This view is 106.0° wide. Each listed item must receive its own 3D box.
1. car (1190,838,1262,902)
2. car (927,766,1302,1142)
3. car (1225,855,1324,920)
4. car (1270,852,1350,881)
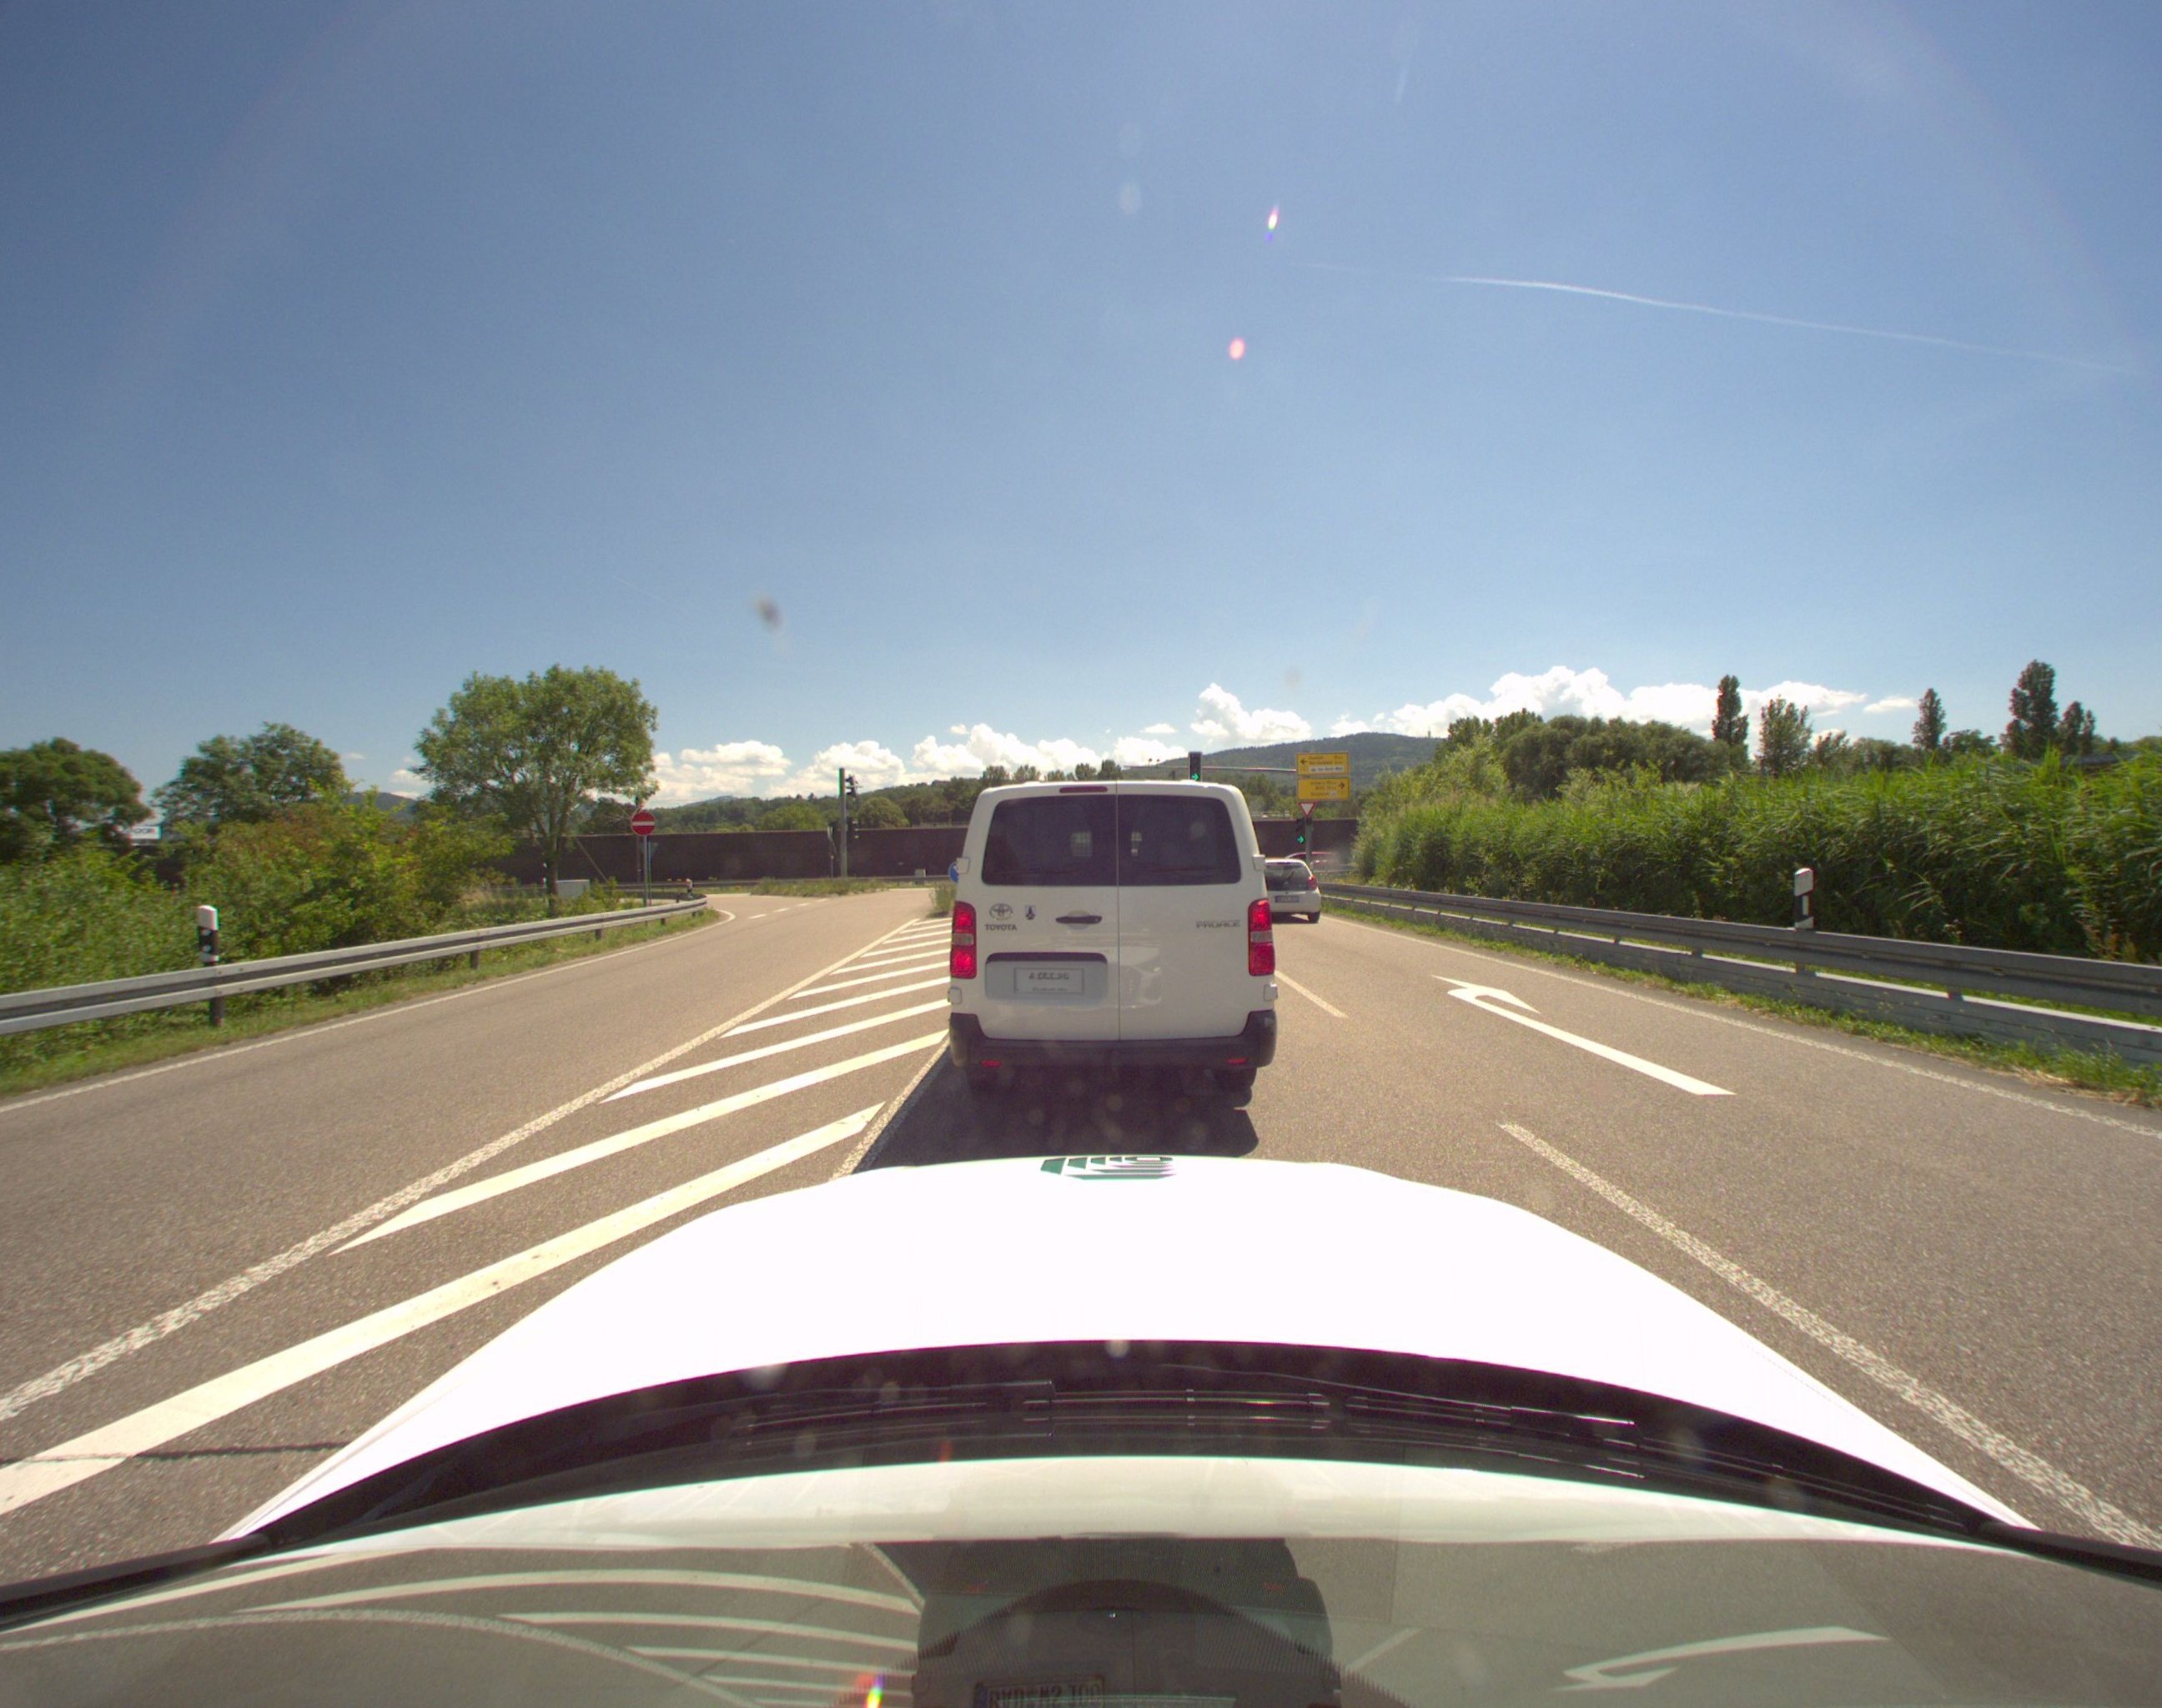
[{"bbox_3d":[4.927,0.523,28.236,1.920,2.000,4.842,-1,0,3],"label":"car"},{"bbox_3d":[0.212,0.519,6.120,1.880,1.886,4.001,-1,0,1],"label":"car"},{"bbox_3d":[4.582,0.754,19.692,1.650,1.431,3.366,-1,0,1],"label":"car"},{"bbox_3d":[13.920,0.735,49.622,4.298,1.656,1.999,-1,-1,-2],"label":"car"}]
